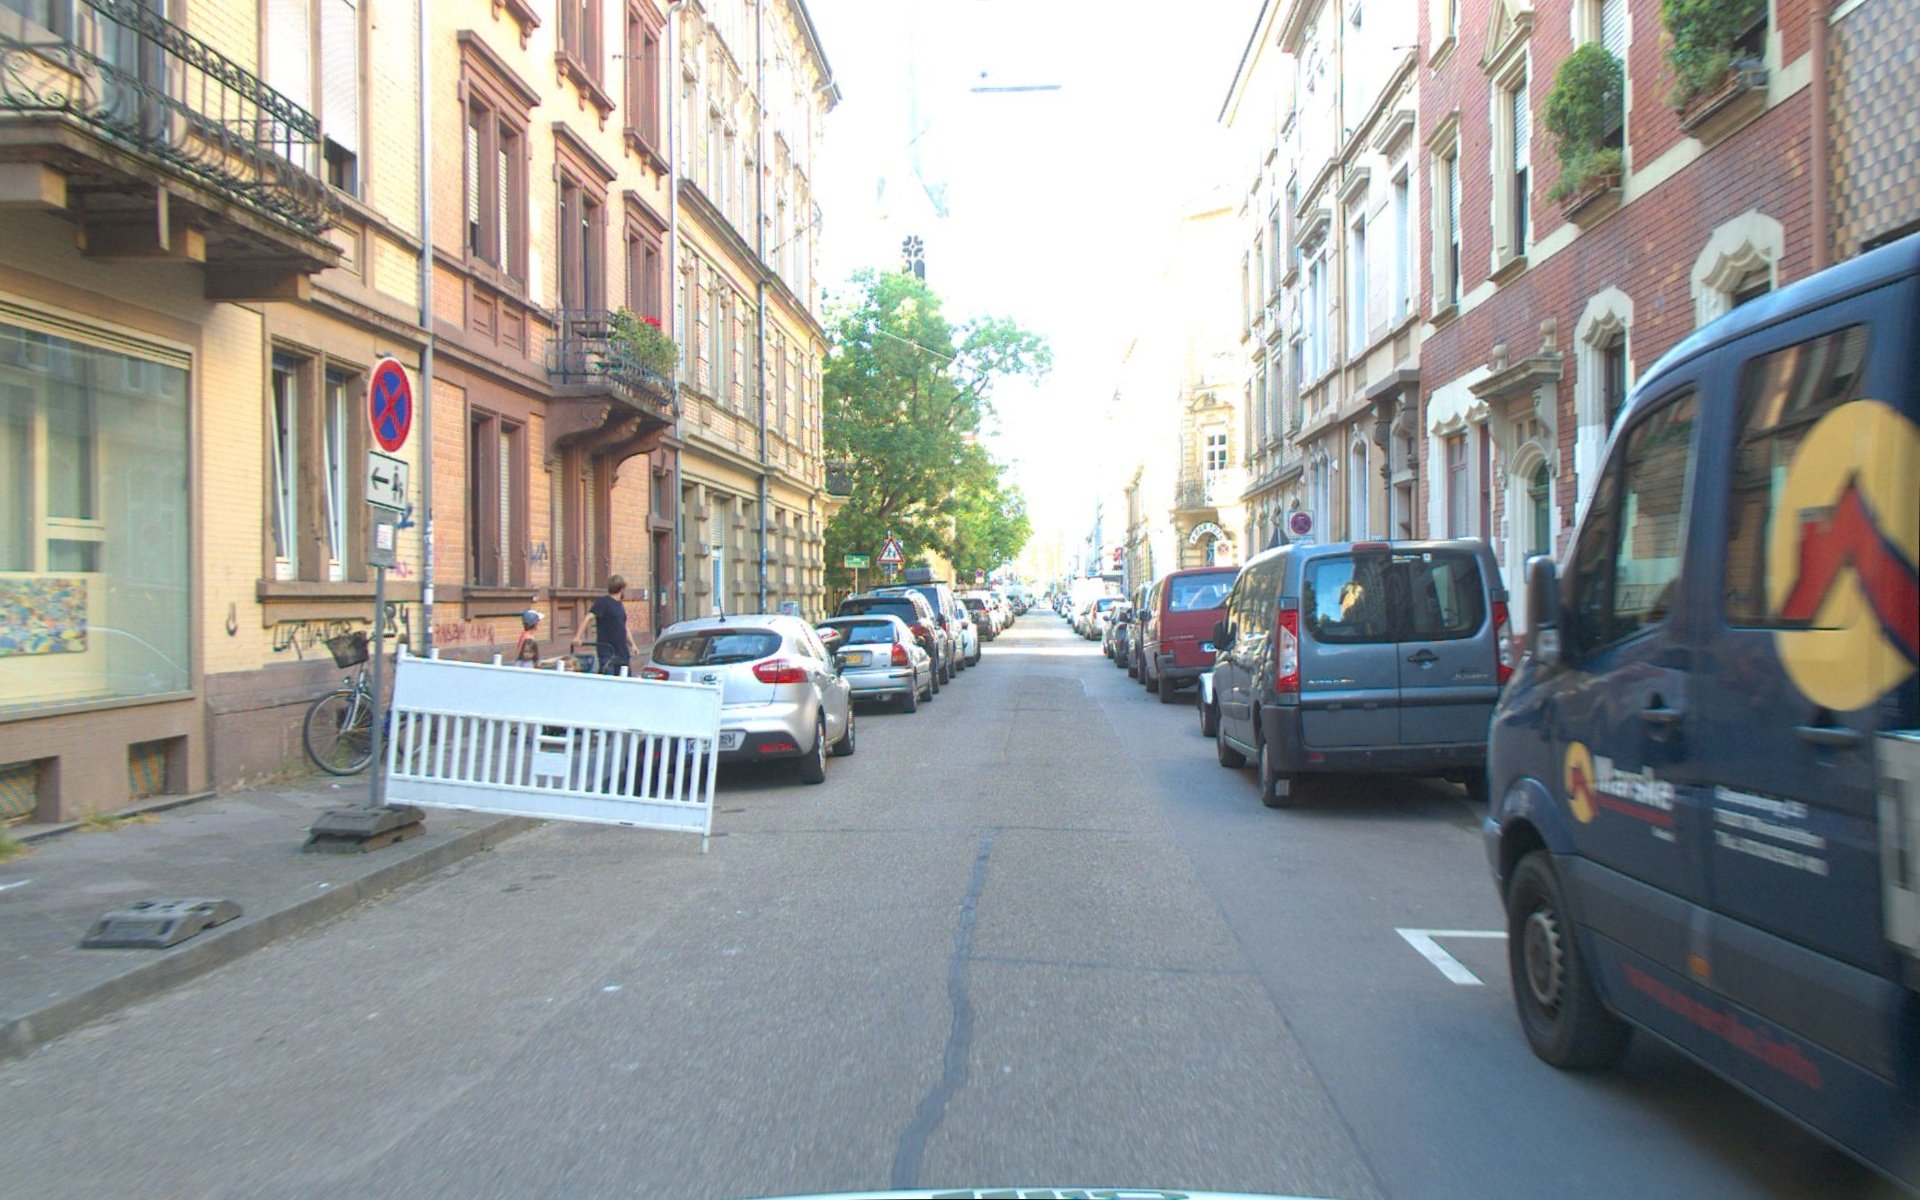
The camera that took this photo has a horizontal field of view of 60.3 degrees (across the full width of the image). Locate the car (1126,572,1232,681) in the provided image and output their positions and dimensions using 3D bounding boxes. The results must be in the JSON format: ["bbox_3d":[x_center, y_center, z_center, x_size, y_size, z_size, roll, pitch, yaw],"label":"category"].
[{"bbox_3d":[4.213,0.474,32.348,1.732,1.995,4.266,0,0,3],"label":"car"}]

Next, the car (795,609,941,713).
[{"bbox_3d":[-1.273,0.839,24.429,1.663,1.337,4.001,2,0,3],"label":"car"}]

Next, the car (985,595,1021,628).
[{"bbox_3d":[2.188,0.587,84.019,1.706,1.614,3.870,-1,0,3],"label":"car"}]

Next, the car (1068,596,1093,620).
[{"bbox_3d":[7.949,0.510,108.993,1.570,1.531,4.002,0,0,4],"label":"car"}]

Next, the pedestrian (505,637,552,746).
[{"bbox_3d":[-4.488,0.945,17.210,0.386,1.105,0.431,0,0,-2],"label":"pedestrian"}]

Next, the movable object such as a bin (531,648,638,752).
[{"bbox_3d":[-3.773,0.985,16.719,0.746,0.948,1.415,-1,0,0],"label":"movable object such as a bin"}]

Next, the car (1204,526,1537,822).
[{"bbox_3d":[3.179,0.501,13.749,1.806,2.018,4.578,1,0,3],"label":"car"}]

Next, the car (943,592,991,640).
[{"bbox_3d":[0.283,0.569,62.248,1.705,1.675,4.289,-1,0,1],"label":"car"}]

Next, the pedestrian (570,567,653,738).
[{"bbox_3d":[-3.758,0.551,17.876,0.671,1.796,0.887,-1,0,0],"label":"pedestrian"}]

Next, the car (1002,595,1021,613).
[{"bbox_3d":[5.312,0.376,171.585,1.837,1.828,4.000,-1,0,1],"label":"car"}]

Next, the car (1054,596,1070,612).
[{"bbox_3d":[13.208,0.544,213.971,1.952,2.049,4.002,-1,0,3],"label":"car"}]

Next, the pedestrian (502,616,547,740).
[{"bbox_3d":[-4.754,0.841,18.077,0.386,1.329,0.431,0,0,-2],"label":"pedestrian"}]

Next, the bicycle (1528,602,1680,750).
[{"bbox_3d":[5.940,0.667,15.377,0.654,1.244,1.993,-4,-1,3],"label":"bicycle"}]

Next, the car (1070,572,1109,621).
[{"bbox_3d":[7.277,-0.191,93.200,2.025,2.656,5.890,-1,0,3],"label":"car"}]

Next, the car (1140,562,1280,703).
[{"bbox_3d":[3.918,0.463,26.620,1.793,2.049,4.744,0,0,3],"label":"car"}]

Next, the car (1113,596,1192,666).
[{"bbox_3d":[4.536,0.694,39.373,1.631,1.505,3.889,-1,1,3],"label":"car"}]

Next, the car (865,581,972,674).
[{"bbox_3d":[-0.794,0.529,34.867,1.853,1.816,4.610,0,0,4],"label":"car"}]

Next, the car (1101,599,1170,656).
[{"bbox_3d":[4.777,0.723,45.547,1.670,1.484,4.513,0,0,3],"label":"car"}]

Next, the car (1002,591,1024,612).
[{"bbox_3d":[4.833,0.094,149.795,1.836,1.828,4.002,-1,0,3],"label":"car"}]

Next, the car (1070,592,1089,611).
[{"bbox_3d":[11.406,0.131,158.409,1.732,1.771,4.002,-1,0,3],"label":"car"}]

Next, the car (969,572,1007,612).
[{"bbox_3d":[1.530,-0.440,89.527,1.825,1.991,4.612,-3,0,2],"label":"car"}]

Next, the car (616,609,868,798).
[{"bbox_3d":[-1.902,0.862,15.595,1.639,1.443,4.001,-3,0,2],"label":"car"}]

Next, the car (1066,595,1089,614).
[{"bbox_3d":[9.802,0.389,137.920,1.858,1.514,3.871,-1,0,3],"label":"car"}]

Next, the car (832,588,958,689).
[{"bbox_3d":[-1.072,0.625,29.390,1.750,1.653,4.610,0,0,4],"label":"car"}]

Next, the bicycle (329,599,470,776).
[{"bbox_3d":[-4.916,0.728,14.620,0.513,1.450,1.713,2,0,4],"label":"bicycle"}]

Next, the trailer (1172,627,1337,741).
[{"bbox_3d":[3.459,0.956,19.843,1.473,1.132,3.040,2,0,1],"label":"trailer"}]

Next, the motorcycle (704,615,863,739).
[{"bbox_3d":[-2.188,0.942,20.268,0.836,1.383,2.165,-4,0,-39],"label":"motorcycle"}]

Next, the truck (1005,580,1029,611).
[{"bbox_3d":[6.502,-0.492,188.199,2.479,3.339,6.997,-1,0,3],"label":"truck"}]

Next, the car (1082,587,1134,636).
[{"bbox_3d":[5.686,0.423,63.838,1.668,1.744,3.938,-2,0,1],"label":"car"}]

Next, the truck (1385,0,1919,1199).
[{"bbox_3d":[2.846,0.159,3.521,2.105,2.703,6.254,-5,0,1],"label":"truck"}]

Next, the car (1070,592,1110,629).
[{"bbox_3d":[6.129,0.495,78.334,1.770,1.719,4.216,1,0,4],"label":"car"}]

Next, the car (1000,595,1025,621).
[{"bbox_3d":[3.516,0.521,110.638,1.567,1.642,3.809,-4,0,2],"label":"car"}]

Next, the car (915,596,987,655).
[{"bbox_3d":[-0.204,0.659,44.448,1.686,1.507,4.091,0,0,3],"label":"car"}]

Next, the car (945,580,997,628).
[{"bbox_3d":[0.488,0.137,67.932,1.807,1.895,4.467,-1,0,4],"label":"car"}]

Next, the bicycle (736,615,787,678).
[{"bbox_3d":[-3.857,0.886,32.221,0.653,1.145,1.786,1,1,3],"label":"bicycle"}]

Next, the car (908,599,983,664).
[{"bbox_3d":[-0.302,0.714,39.227,1.639,1.445,3.875,0,0,2],"label":"car"}]
